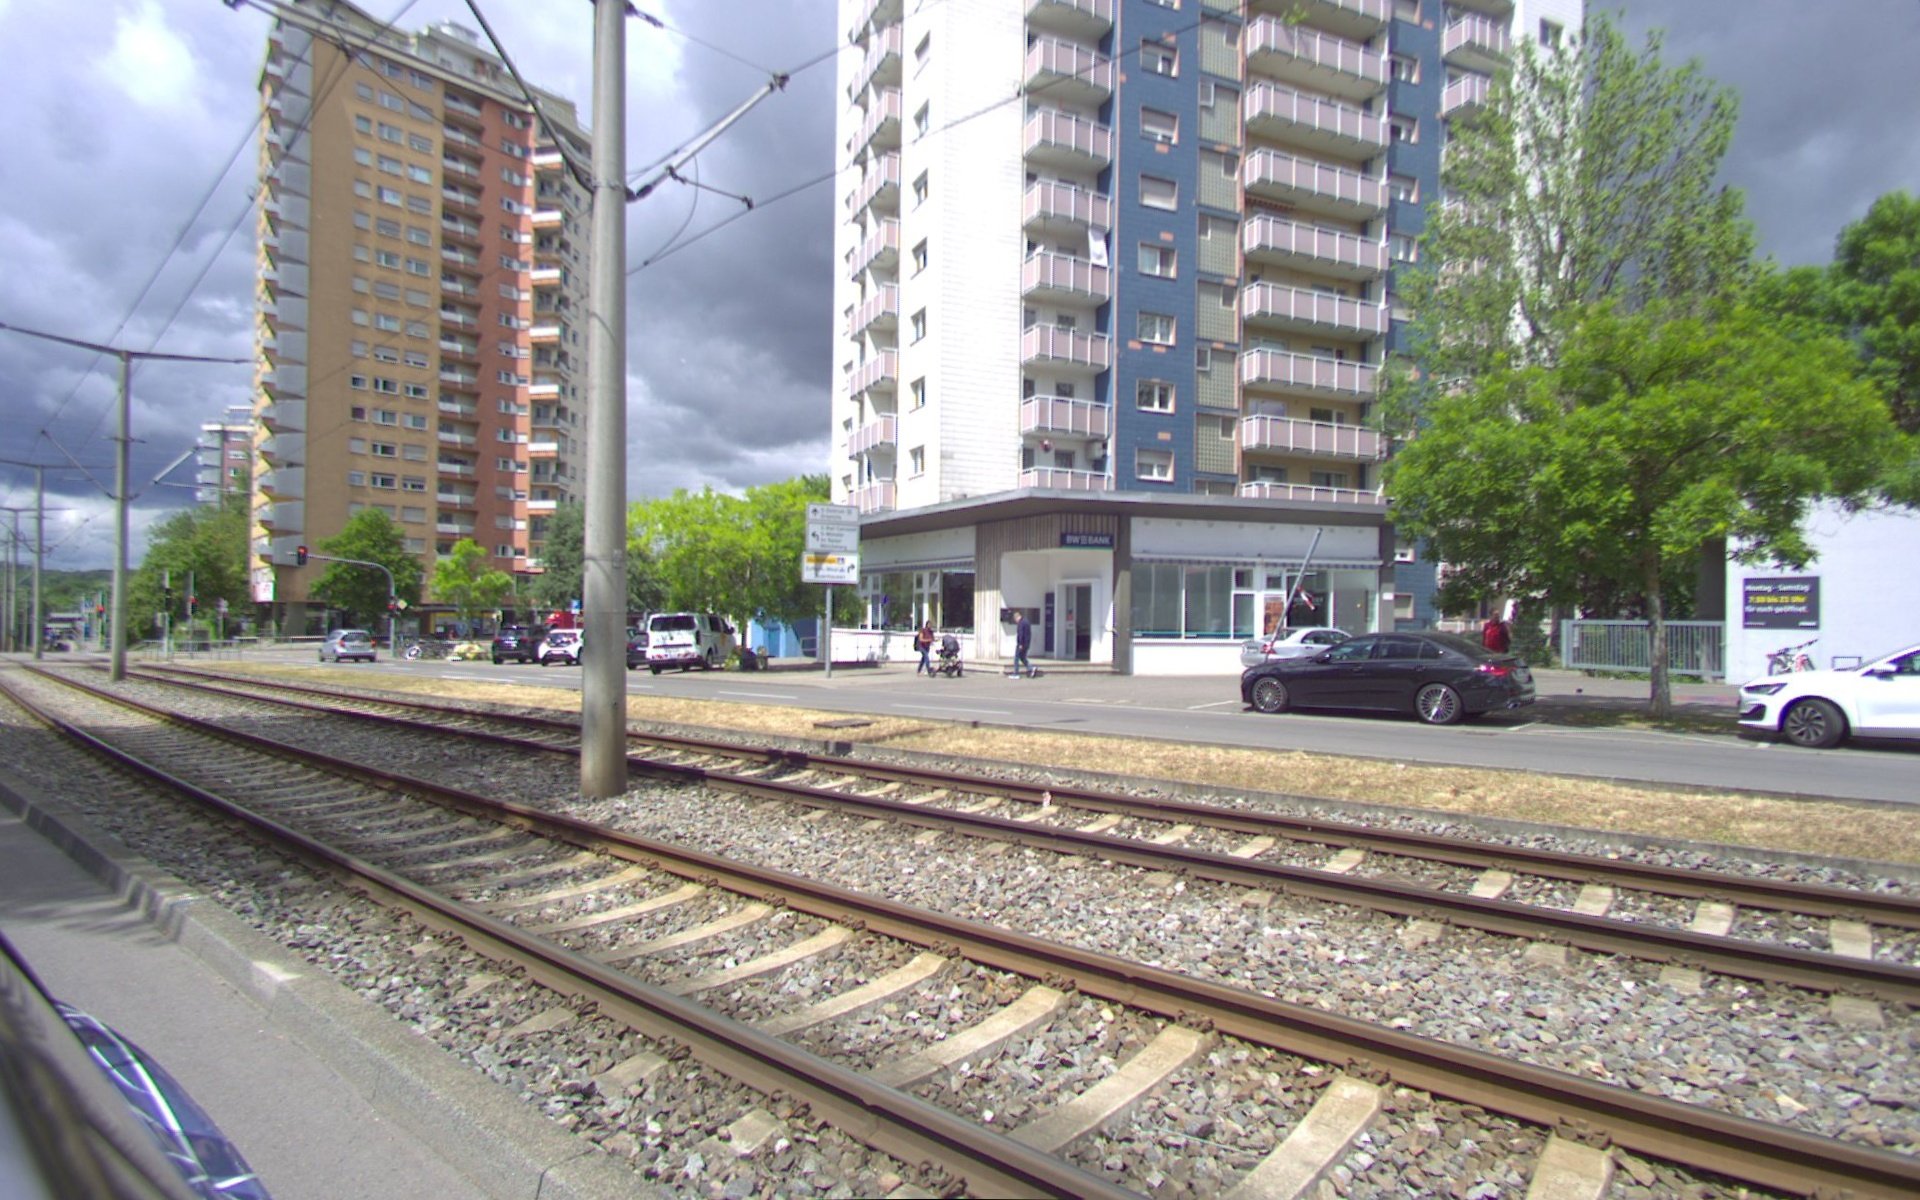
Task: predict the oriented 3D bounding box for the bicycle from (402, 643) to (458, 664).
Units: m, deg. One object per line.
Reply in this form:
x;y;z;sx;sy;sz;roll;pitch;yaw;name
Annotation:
-27.044;2.733;51.653;0.705;1.074;2.400;-3;-4;43;bicycle

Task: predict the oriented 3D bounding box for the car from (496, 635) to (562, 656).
-32.103;3.417;75.489;4.206;1.462;1.798;3;-4;-38;car

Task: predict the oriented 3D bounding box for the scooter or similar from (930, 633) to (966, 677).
-0.327;1.465;26.913;0.571;1.133;0.771;-2;-2;-37;scooter or similar

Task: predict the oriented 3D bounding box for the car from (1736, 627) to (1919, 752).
12.415;1.086;12.348;1.733;1.486;4.405;3;-4;-42;car

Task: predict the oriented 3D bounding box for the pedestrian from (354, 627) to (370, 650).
-50.624;3.293;85.678;0.853;1.949;0.908;-3;-4;44;pedestrian

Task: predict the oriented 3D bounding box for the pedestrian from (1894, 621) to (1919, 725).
14.644;1.085;15.040;0.593;1.545;0.975;2;-4;-35;pedestrian

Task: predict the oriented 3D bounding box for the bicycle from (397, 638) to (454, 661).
-26.065;2.414;49.382;0.717;1.042;2.400;-3;-2;43;bicycle

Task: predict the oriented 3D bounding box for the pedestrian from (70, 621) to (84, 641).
-80.081;2.804;91.769;0.747;1.787;0.853;-3;-4;44;pedestrian

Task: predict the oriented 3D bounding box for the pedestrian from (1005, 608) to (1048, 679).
1.735;1.148;26.363;0.870;1.806;0.835;-2;-4;29;pedestrian

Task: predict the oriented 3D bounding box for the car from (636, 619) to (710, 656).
-26.279;3.471;92.973;6.203;3.324;2.004;3;-4;-38;car

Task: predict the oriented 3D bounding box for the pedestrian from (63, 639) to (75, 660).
-85.141;4.711;96.711;0.573;1.946;0.760;-3;-4;42;pedestrian

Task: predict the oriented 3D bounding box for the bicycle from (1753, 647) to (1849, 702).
19.074;1.678;22.958;1.940;1.221;0.671;1;-3;-16;bicycle

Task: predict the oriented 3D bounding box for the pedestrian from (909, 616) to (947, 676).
-0.868;1.258;27.636;0.507;1.583;0.988;-1;-2;-37;pedestrian

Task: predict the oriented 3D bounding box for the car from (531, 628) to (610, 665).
-16.437;1.982;42.886;1.724;1.508;3.763;0;-3;3;car

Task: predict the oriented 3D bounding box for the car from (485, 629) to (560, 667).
-19.876;2.199;46.127;1.903;1.604;4.003;0;-3;-4;car

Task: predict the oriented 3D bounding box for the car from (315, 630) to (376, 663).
-30.249;2.314;49.757;1.797;1.544;3.758;3;-4;-43;car

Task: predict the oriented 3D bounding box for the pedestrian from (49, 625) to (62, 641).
-88.549;3.226;99.089;0.747;1.618;0.853;-3;-4;44;pedestrian

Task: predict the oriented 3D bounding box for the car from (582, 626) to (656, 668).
-13.913;1.951;41.539;1.878;1.644;4.002;0;-3;-3;car

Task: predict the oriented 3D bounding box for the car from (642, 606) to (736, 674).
-9.173;1.409;34.654;1.880;2.173;4.760;0;-3;1;car

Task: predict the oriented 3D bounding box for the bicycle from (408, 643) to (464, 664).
-26.462;2.709;51.139;0.705;1.074;2.400;-3;-4;43;bicycle

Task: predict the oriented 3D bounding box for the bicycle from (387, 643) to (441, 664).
-28.748;2.814;53.317;0.705;1.074;2.400;-3;-4;43;bicycle

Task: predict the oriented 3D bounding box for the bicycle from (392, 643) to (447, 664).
-28.169;2.788;52.767;0.705;1.074;2.400;-3;-4;43;bicycle

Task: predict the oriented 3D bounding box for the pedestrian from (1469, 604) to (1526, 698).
10.632;1.009;20.033;0.843;1.806;0.604;-3;-4;42;pedestrian

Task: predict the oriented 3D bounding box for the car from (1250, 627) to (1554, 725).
7.308;1.192;17.070;1.715;1.439;4.382;2;-3;-45;car

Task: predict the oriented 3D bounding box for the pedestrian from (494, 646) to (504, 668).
-31.549;3.886;69.261;0.510;1.483;0.528;1;-3;-20;pedestrian

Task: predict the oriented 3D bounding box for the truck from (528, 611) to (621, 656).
-33.268;2.948;87.443;6.988;3.703;2.550;3;-4;-40;truck

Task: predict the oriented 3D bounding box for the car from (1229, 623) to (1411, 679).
9.883;1.424;27.936;4.284;1.454;2.005;1;-3;-12;car

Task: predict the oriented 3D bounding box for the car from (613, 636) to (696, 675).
-11.527;2.119;38.459;1.880;1.394;3.998;0;-3;1;car

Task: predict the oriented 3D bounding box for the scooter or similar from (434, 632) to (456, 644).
-46.704;3.450;91.759;0.545;1.102;1.729;-2;-4;40;scooter or similar
